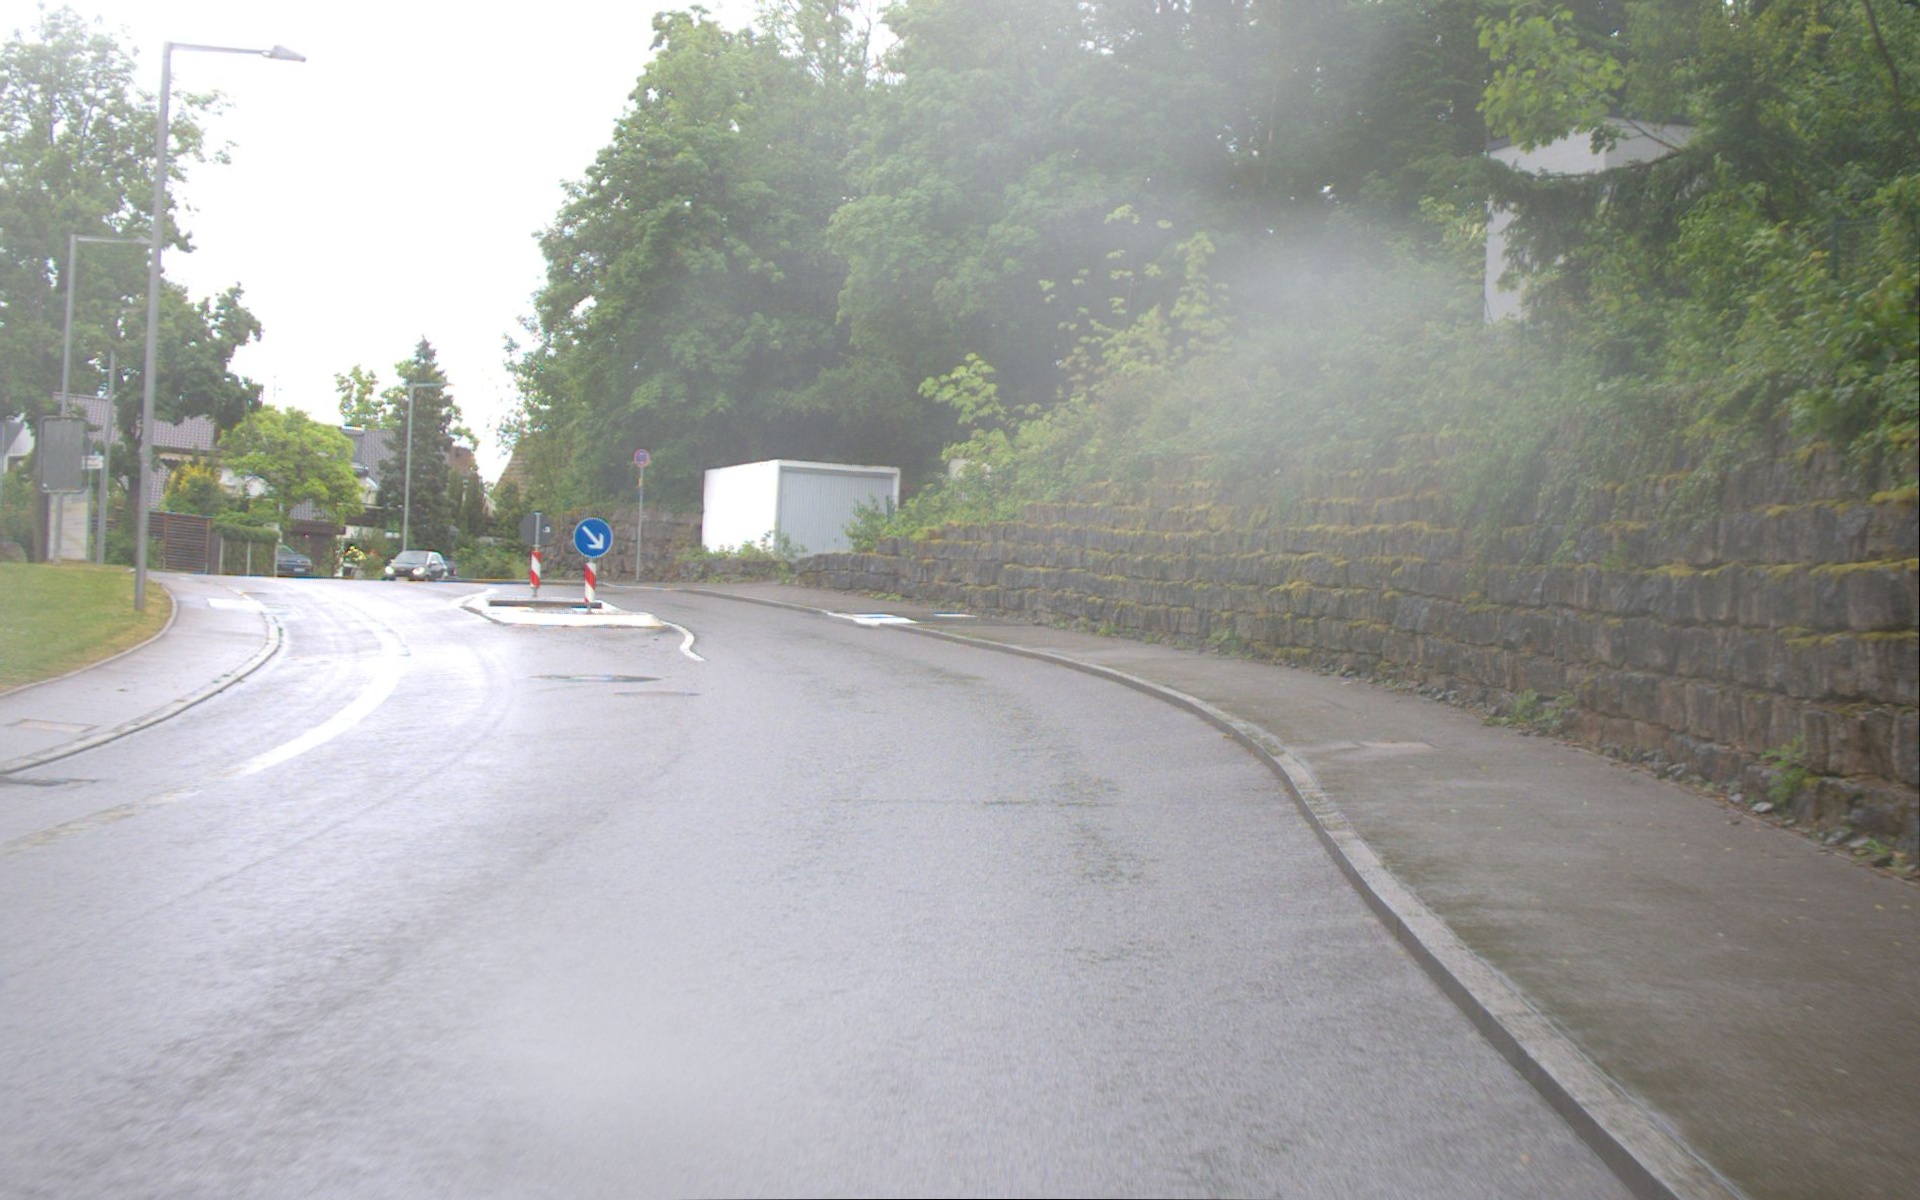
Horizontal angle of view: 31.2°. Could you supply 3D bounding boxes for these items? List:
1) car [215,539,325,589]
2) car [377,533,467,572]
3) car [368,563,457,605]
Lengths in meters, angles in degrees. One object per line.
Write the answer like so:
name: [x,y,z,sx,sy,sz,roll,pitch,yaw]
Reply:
car: [-26.961,-1.420,134.277,3.996,1.626,2.009,4,-1,39]
car: [-22.467,-1.973,143.477,1.934,1.384,3.999,6,-2,-38]
car: [-20.568,-0.617,129.334,1.832,1.515,4.625,1,1,10]
